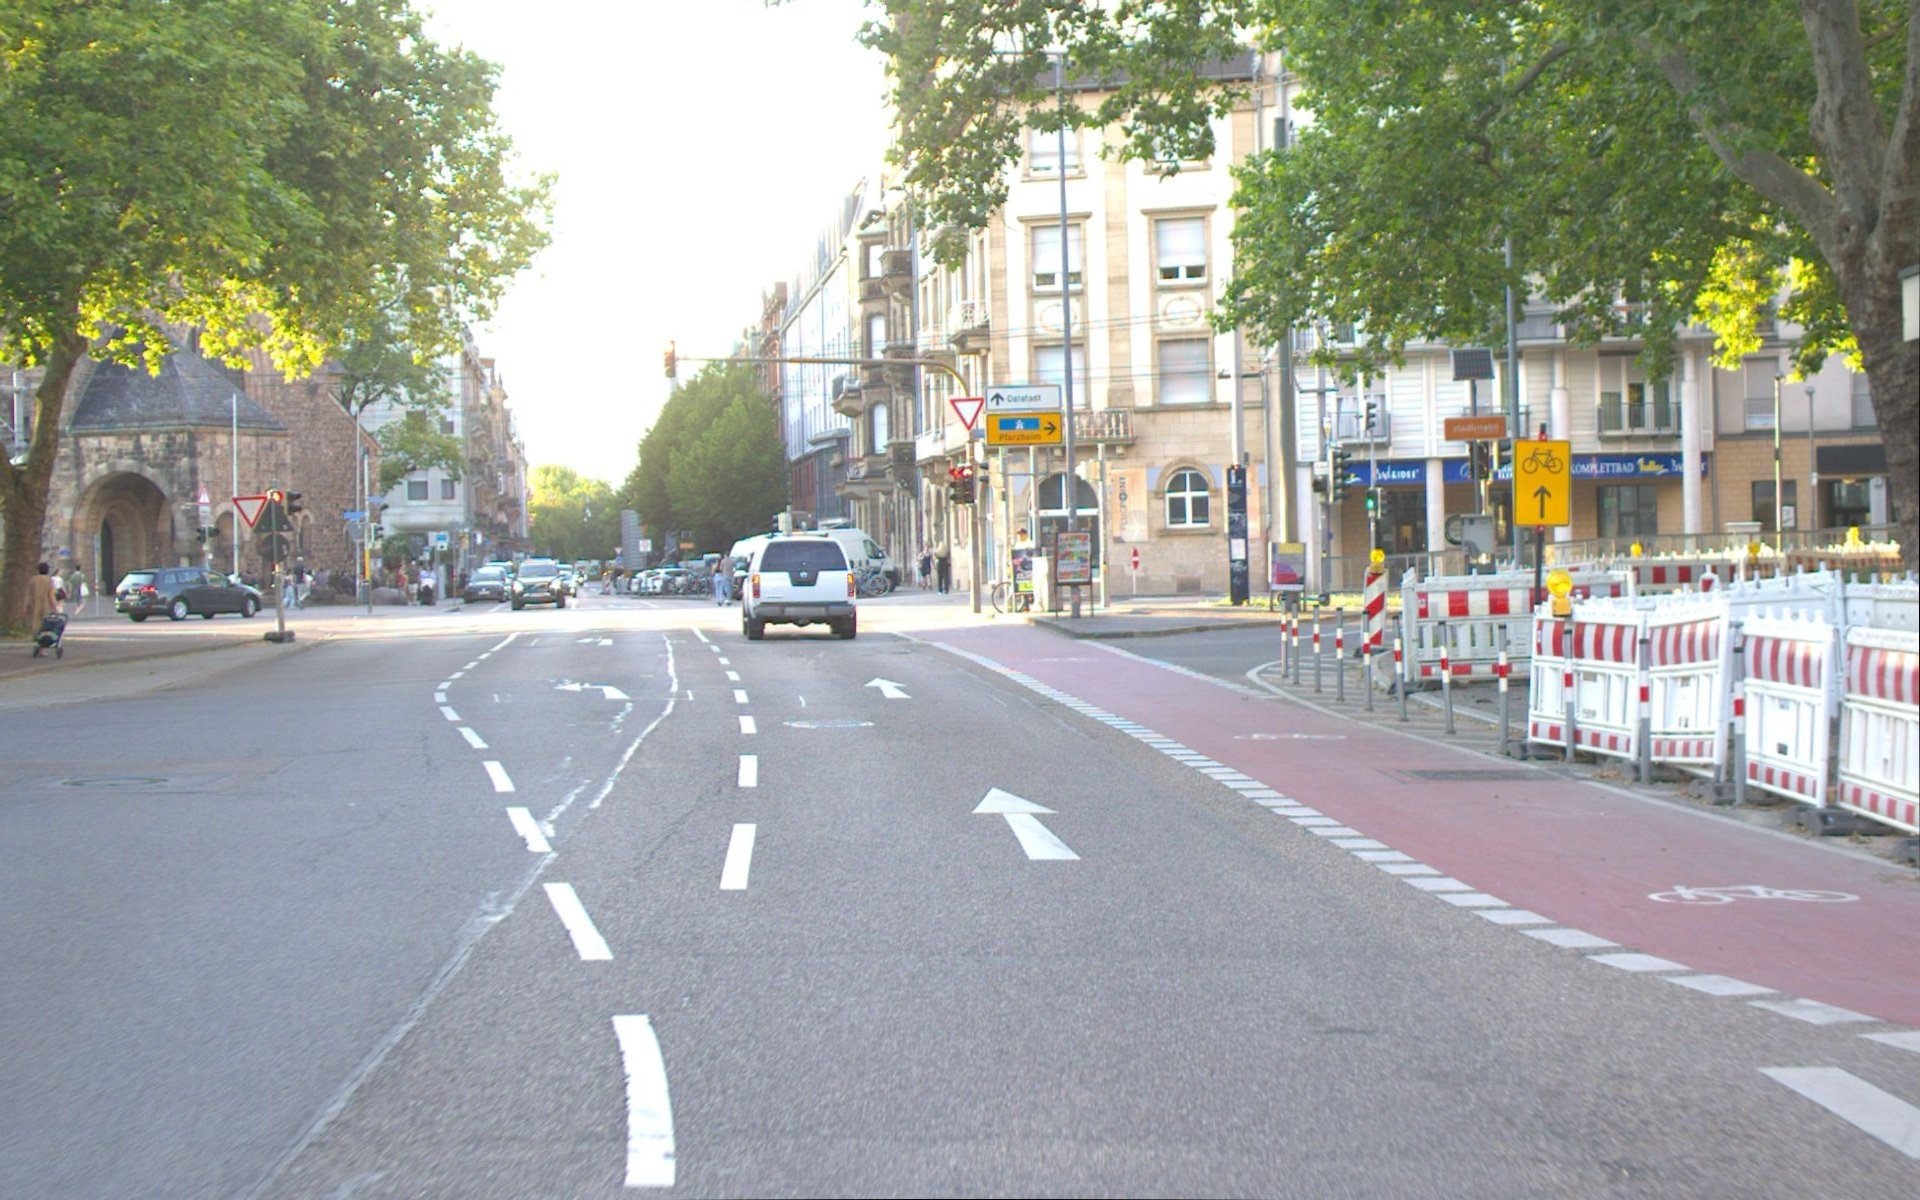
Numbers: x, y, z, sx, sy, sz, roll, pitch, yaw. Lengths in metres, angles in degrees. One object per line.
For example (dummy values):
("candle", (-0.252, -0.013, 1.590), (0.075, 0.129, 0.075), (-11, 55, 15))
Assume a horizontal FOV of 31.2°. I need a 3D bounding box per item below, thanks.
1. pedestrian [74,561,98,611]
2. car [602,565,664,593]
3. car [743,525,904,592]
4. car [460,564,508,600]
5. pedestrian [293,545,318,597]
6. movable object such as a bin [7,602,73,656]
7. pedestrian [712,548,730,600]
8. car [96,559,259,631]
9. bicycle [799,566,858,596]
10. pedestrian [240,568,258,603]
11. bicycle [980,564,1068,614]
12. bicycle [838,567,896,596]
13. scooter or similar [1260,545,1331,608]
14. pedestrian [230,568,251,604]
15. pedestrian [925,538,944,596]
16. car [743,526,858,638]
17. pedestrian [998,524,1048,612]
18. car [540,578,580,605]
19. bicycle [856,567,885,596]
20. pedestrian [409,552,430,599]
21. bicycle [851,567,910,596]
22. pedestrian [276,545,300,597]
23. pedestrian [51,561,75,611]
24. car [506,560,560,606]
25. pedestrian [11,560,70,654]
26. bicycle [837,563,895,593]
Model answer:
("pedestrian", (-28.085, -0.454, 110.487), (0.556, 1.578, 0.548), (-1, 1, 6))
("car", (-21.794, -1.423, 229.062), (3.986, 1.809, 2.000), (-1, 1, -8))
("car", (-4.831, -1.498, 122.292), (5.808, 2.280, 2.071), (-2, 1, -45))
("car", (-21.607, -0.823, 155.911), (1.993, 1.645, 3.822), (0, 0, -10))
("pedestrian", (-23.706, -1.061, 124.518), (0.655, 1.880, 0.585), (-1, 1, 28))
("movable object such as a bin", (-15.833, 0.494, 59.174), (0.738, 0.887, 0.982), (-1, 1, 10))
("pedestrian", (-8.776, -0.945, 126.118), (0.593, 1.880, 0.647), (-1, 1, 0))
("car", (-21.622, -0.151, 95.152), (2.080, 1.835, 4.626), (-1, 2, 22))
("bicycle", (-4.447, -0.636, 116.490), (1.914, 0.965, 0.546), (-1, 1, -11))
("pedestrian", (-26.164, -0.517, 126.530), (0.497, 1.276, 0.492), (-1, 1, -26))
("bicycle", (1.288, -0.215, 69.077), (1.691, 0.965, 0.546), (-1, 1, -8))
("bicycle", (-3.143, -0.625, 116.109), (1.914, 0.965, 0.546), (-1, 1, -3))
("scooter or similar", (6.710, -0.476, 68.854), (0.544, 1.246, 1.389), (-2, 1, -42))
("pedestrian", (-26.543, -0.504, 126.793), (0.572, 1.315, 0.486), (-1, 1, 10))
("pedestrian", (-0.826, -1.082, 112.955), (0.593, 1.880, 0.647), (-1, 1, 0))
("car", (-2.798, -0.323, 59.793), (1.866, 1.808, 4.001), (-2, 1, -3))
("pedestrian", (1.273, -0.643, 69.571), (0.794, 1.762, 0.721), (-1, 1, -19))
("car", (-22.325, -0.483, 191.951), (1.993, 1.501, 3.822), (0, 0, -10))
("bicycle", (-3.074, -0.643, 118.259), (0.544, 0.965, 1.920), (-1, 1, 12))
("pedestrian", (-21.777, -0.975, 138.465), (0.594, 1.880, 0.553), (-1, 1, 24))
("bicycle", (-2.704, -0.627, 116.911), (1.916, 0.965, 0.545), (-1, 1, 13))
("pedestrian", (-24.374, -1.043, 124.749), (0.594, 1.880, 0.553), (-1, 1, 27))
("pedestrian", (-28.819, -0.460, 110.490), (0.556, 1.578, 0.548), (-1, 1, 6))
("car", (-15.726, -0.637, 126.477), (1.781, 1.645, 3.822), (0, 0, -10))
("pedestrian", (-16.068, 0.122, 60.082), (0.738, 1.623, 0.685), (-1, 1, 10))
("bicycle", (-3.161, -0.737, 115.828), (1.914, 0.965, 0.546), (-1, 1, -3))
